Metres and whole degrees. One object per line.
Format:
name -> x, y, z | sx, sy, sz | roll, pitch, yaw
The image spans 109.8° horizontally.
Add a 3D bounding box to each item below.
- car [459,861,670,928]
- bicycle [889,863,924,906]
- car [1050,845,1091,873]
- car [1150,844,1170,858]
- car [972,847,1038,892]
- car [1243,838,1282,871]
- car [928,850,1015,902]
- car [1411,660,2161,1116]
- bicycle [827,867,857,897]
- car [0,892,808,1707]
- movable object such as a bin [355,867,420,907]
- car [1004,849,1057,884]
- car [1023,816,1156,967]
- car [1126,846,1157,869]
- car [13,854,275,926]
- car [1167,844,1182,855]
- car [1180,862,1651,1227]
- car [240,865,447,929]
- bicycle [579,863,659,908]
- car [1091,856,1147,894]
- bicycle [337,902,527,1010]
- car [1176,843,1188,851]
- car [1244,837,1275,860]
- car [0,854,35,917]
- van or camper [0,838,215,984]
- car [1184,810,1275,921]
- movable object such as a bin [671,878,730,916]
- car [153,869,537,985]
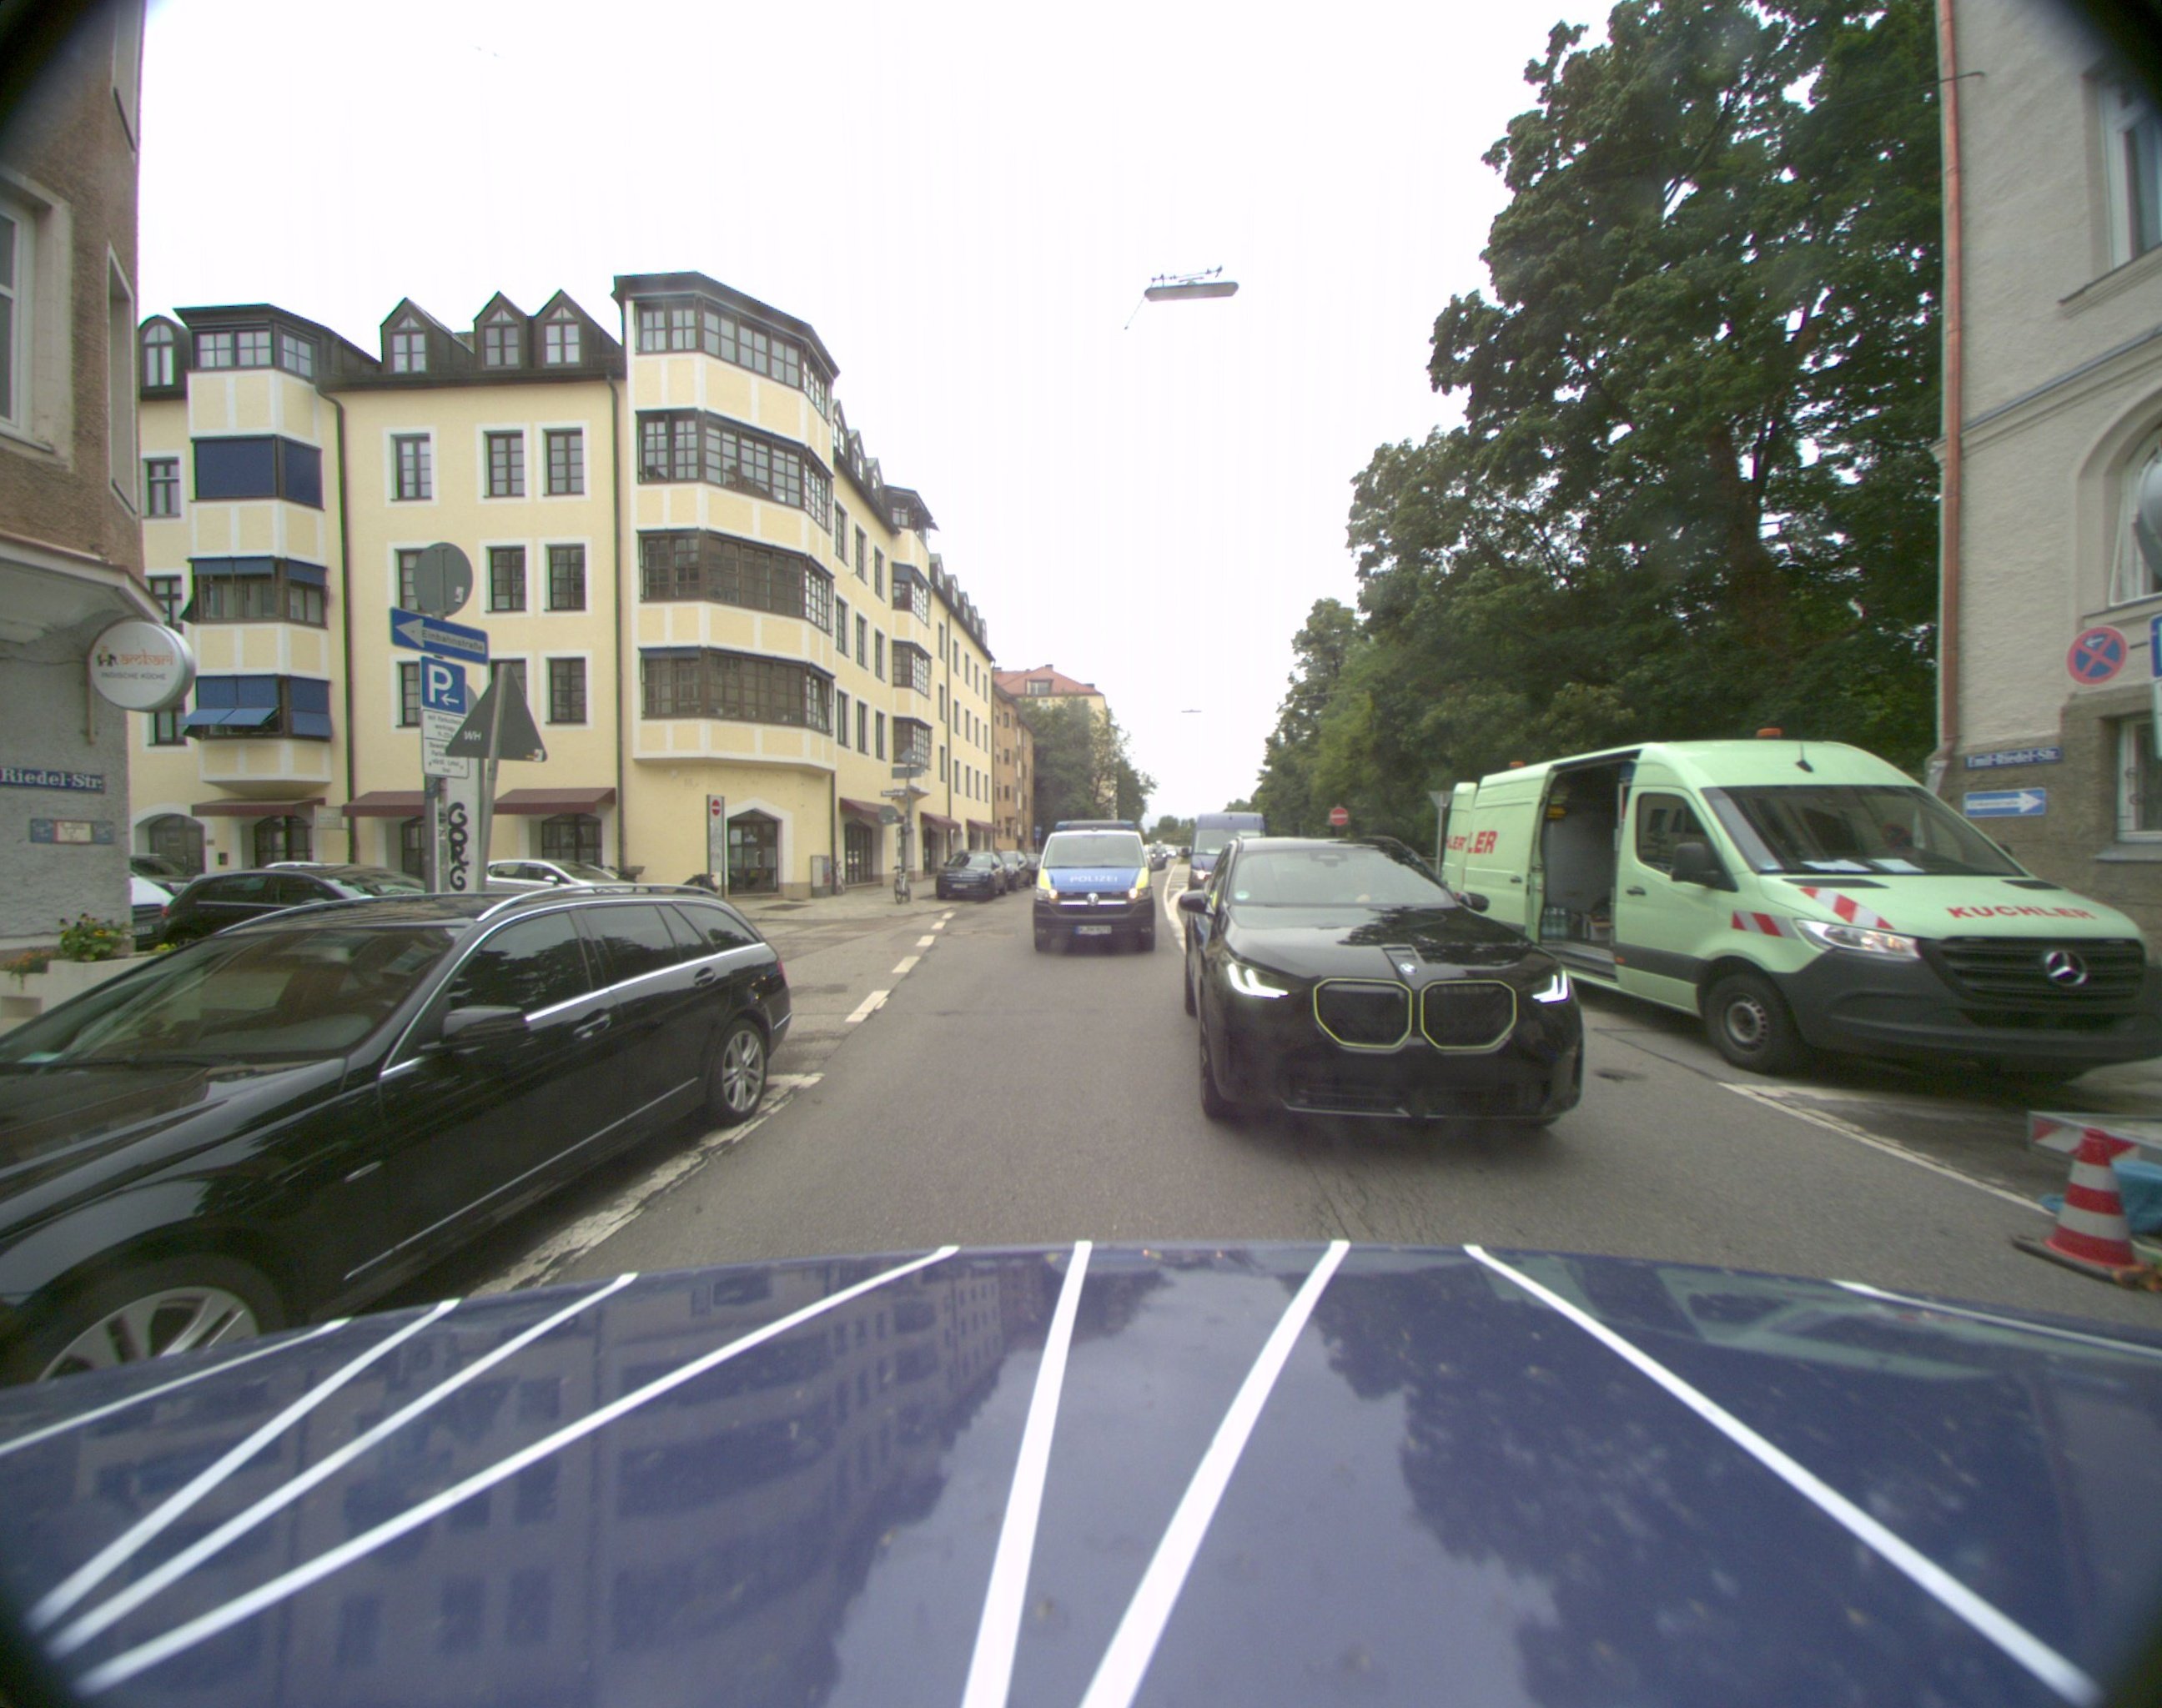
car -> -11.697, 0.898, 17.342 | 3.741, 1.431, 1.753 | 0, -2, 7
bicycle -> -5.223, 0.899, 22.790 | 0.430, 1.152, 2.053 | 1, 2, 4
car -> -0.635, 0.277, 49.832 | 1.882, 1.642, 5.619 | 1, 1, 8
car -> 8.247, -0.288, 78.829 | 1.836, 1.390, 4.002 | 1, 1, 9
car -> -3.121, 0.590, 31.979 | 1.817, 1.580, 4.165 | 4, 2, 7
car -> 9.765, -0.015, 40.627 | 1.815, 1.580, 4.168 | 4, 2, 15
car -> -3.735, 0.704, 26.766 | 2.111, 1.613, 4.497 | 0, 1, 4
car -> 5.713, 0.176, 7.677 | 2.146, 2.557, 6.795 | -1, 1, 3
bicycle -> -7.873, 0.913, 25.059 | 0.262, 0.897, 1.695 | 4, 2, 5
car -> -2.999, 1.016, 3.041 | 1.851, 1.397, 4.788 | -1, 1, 3
movable object such as a bin -> -19.462, 0.923, 21.333 | 1.125, 1.075, 0.767 | 0, 1, 4
car -> -2.388, 0.568, 37.056 | 1.763, 1.514, 3.934 | 1, 1, 8
car -> 0.383, 0.506, 13.373 | 1.826, 2.087, 5.635 | -1, 1, 5
car -> 4.546, 0.212, 56.496 | 1.997, 1.587, 4.002 | 1, 1, 9
car -> -22.224, 0.816, 18.138 | 4.024, 1.575, 1.985 | 0, 1, 6
car -> 13.004, -0.631, 105.260 | 1.836, 1.390, 4.002 | 1, 1, 9
car -> 1.725, 0.837, 5.489 | 1.920, 1.556, 4.296 | 0, 0, 6
car -> -17.214, 0.971, 17.825 | 3.451, 1.330, 1.639 | 0, 2, 7
bicycle -> -12.619, 0.853, 20.791 | 1.904, 1.180, 0.515 | 0, 1, 4
car -> 1.470, 0.740, 28.204 | 1.494, 1.207, 3.614 | -1, 1, 12
bicycle -> -7.358, 1.107, 8.741 | 0.496, 0.999, 1.804 | 1, 0, 6
car -> 16.918, -1.157, 127.663 | 1.836, 1.390, 4.002 | 1, 1, 9
car -> 12.486, -0.389, 52.862 | 1.815, 1.455, 4.168 | 4, 2, 16
car -> -29.175, 0.815, 18.667 | 4.427, 1.559, 1.978 | -1, 1, 4
van or camper -> -16.366, 0.763, 11.293 | 4.910, 1.909, 1.961 | 0, 3, 4
car -> 4.083, 0.178, 20.109 | 2.003, 2.477, 6.238 | -1, 2, 14
movable object such as a bin -> -9.480, 1.064, 18.959 | 1.125, 0.895, 0.684 | 0, 1, 4
car -> -10.602, 1.000, 11.167 | 3.881, 1.479, 1.892 | 0, 1, 4
